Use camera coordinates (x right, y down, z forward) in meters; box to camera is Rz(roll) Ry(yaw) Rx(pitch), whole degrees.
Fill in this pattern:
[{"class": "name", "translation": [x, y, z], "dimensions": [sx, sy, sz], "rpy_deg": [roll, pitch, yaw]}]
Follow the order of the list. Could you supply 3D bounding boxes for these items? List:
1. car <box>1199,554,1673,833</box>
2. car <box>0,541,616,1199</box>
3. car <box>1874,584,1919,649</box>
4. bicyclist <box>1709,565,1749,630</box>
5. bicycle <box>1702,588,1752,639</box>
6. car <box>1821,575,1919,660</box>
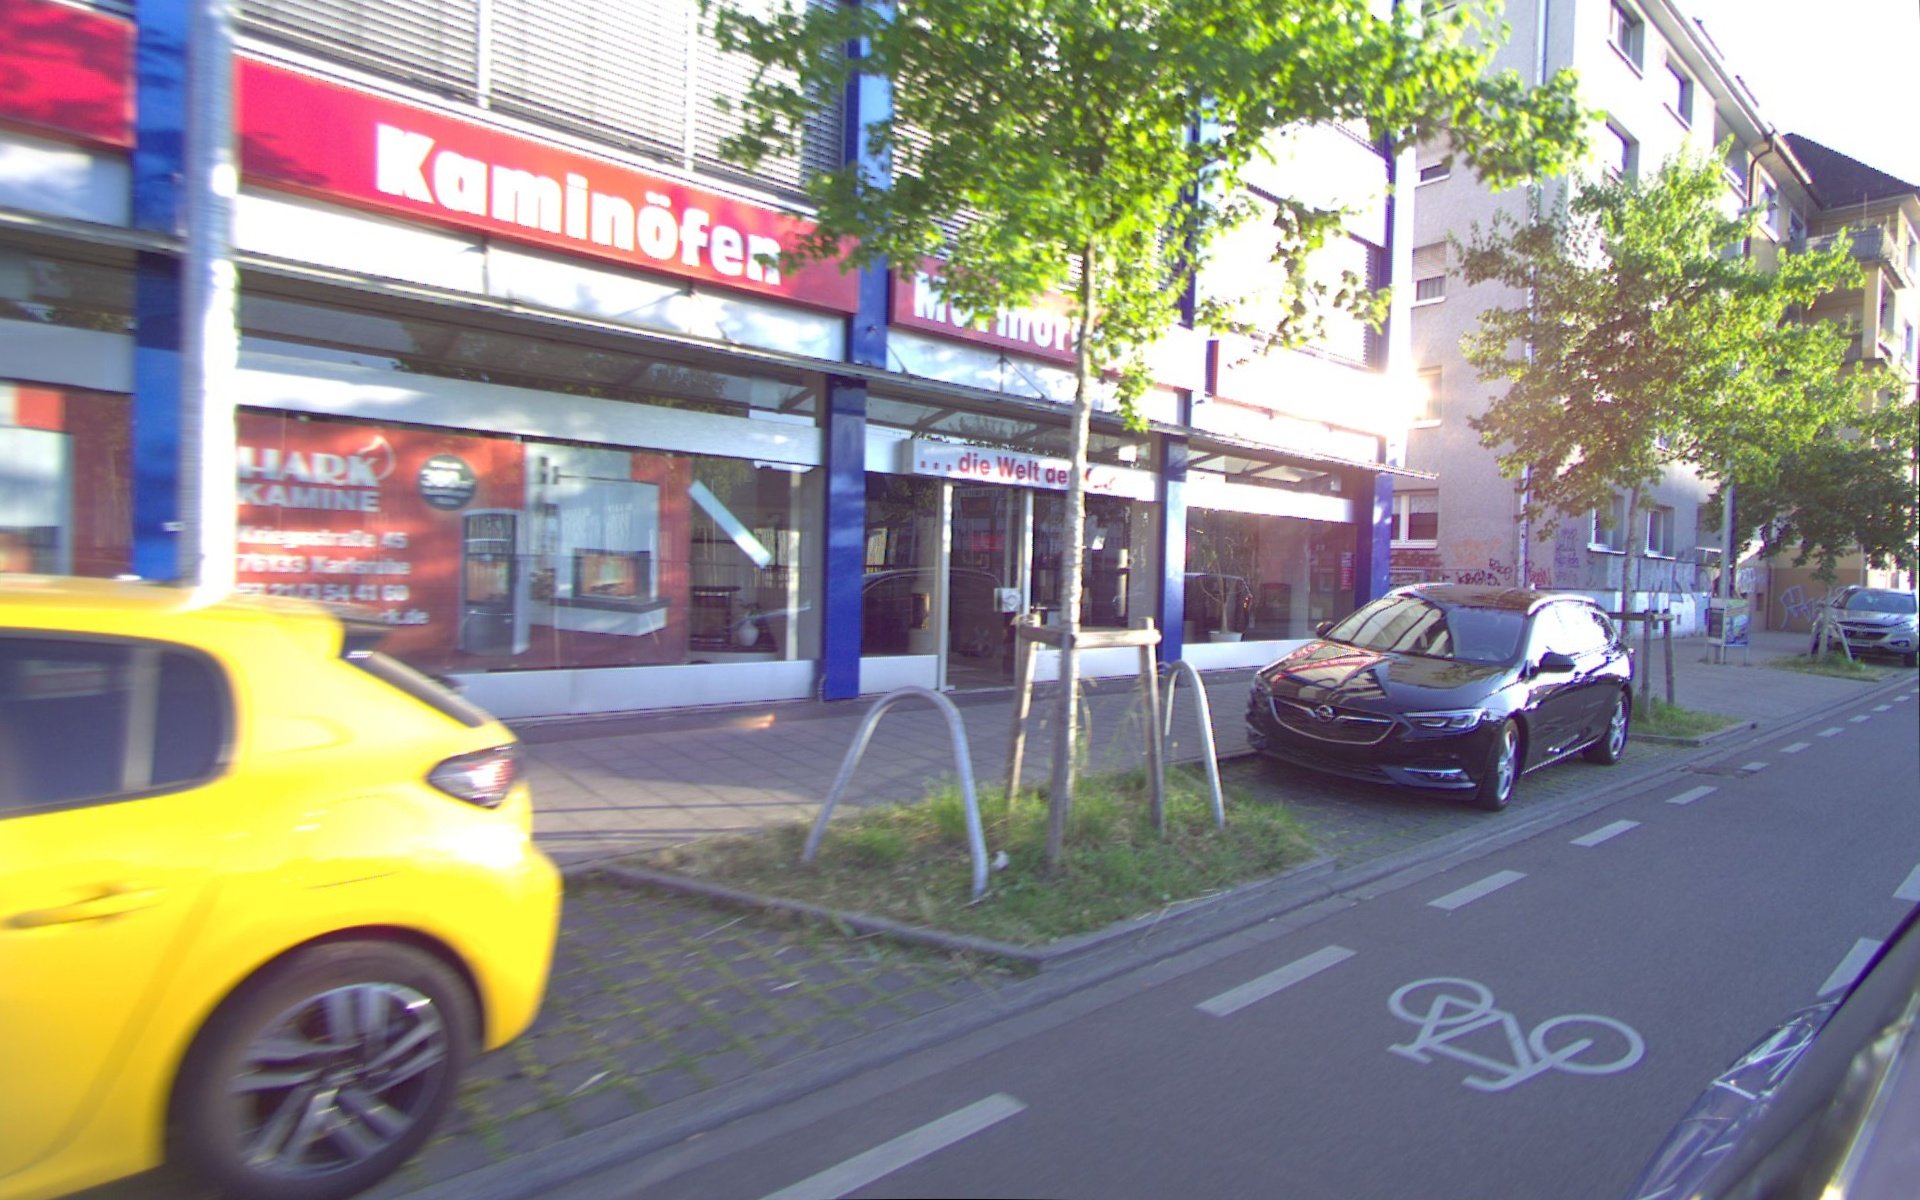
[{"class": "car", "translation": [4.158, 0.527, 8.401], "dimensions": [4.729, 1.585, 1.823], "rpy_deg": [0, 6, -43]}, {"class": "car", "translation": [-3.007, 0.602, 2.027], "dimensions": [4.058, 1.472, 1.687], "rpy_deg": [-1, 3, -42]}, {"class": "car", "translation": [25.368, 0.439, 26.517], "dimensions": [3.540, 1.535, 1.673], "rpy_deg": [0, 6, -43]}, {"class": "bicyclist", "translation": [18.347, -0.068, 24.142], "dimensions": [0.612, 1.493, 0.559], "rpy_deg": [0, 5, -42]}, {"class": "bicycle", "translation": [18.321, 0.299, 24.160], "dimensions": [1.941, 1.143, 0.555], "rpy_deg": [-1, 5, -43]}, {"class": "car", "translation": [21.242, 0.350, 23.017], "dimensions": [4.449, 1.674, 1.761], "rpy_deg": [0, 4, -41]}]
